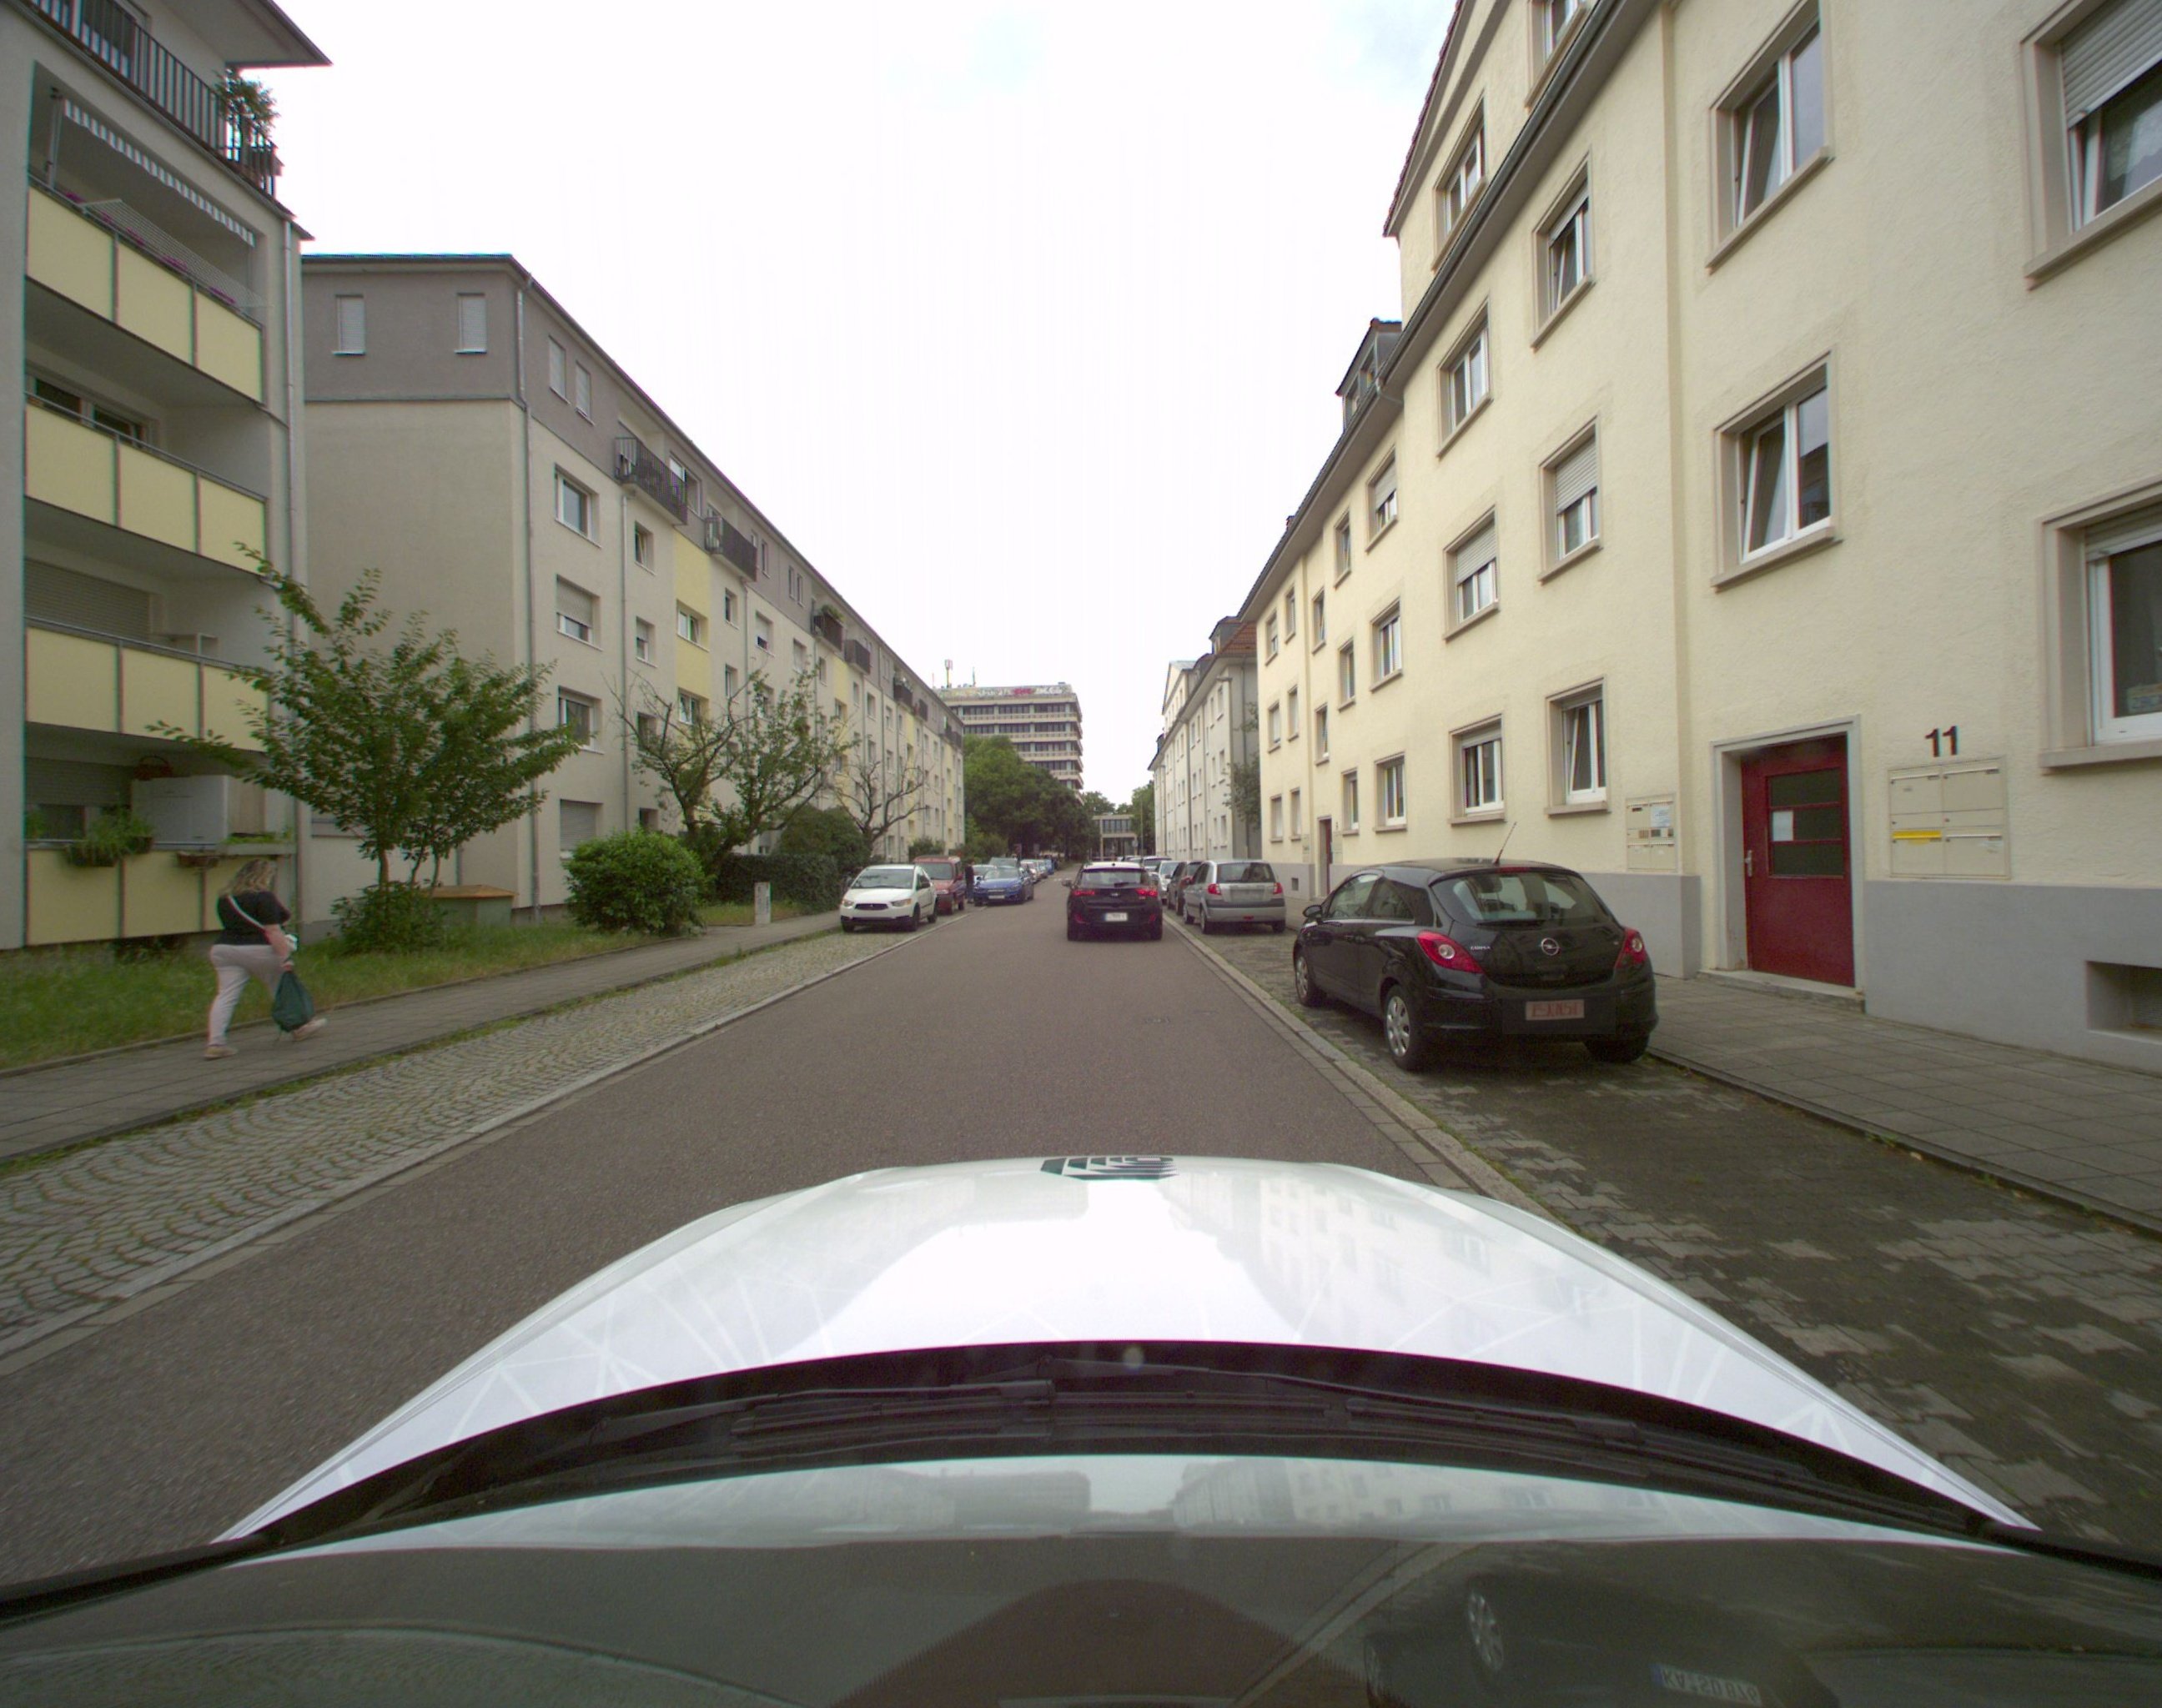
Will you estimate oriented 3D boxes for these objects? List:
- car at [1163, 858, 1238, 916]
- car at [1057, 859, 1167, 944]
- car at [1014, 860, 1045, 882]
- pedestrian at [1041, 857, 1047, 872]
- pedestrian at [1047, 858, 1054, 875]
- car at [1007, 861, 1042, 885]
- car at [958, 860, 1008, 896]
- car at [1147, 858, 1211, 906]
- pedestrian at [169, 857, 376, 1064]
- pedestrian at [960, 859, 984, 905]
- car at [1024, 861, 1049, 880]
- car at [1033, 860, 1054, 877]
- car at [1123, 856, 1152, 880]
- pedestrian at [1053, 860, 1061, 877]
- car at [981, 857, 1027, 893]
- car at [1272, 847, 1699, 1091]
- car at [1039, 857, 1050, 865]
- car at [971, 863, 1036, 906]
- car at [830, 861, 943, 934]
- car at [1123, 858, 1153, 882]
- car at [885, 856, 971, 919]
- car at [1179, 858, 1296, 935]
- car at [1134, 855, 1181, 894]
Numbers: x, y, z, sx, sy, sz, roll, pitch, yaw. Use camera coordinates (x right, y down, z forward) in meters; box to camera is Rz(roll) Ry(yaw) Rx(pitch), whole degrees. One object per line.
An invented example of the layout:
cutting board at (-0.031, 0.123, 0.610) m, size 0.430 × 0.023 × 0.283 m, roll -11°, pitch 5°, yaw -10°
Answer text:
car at (3.263, 0.854, 22.861) m, size 1.597 × 1.476 × 3.870 m, roll -1°, pitch 0°, yaw 1°
car at (0.616, 0.857, 16.525) m, size 1.896 × 1.433 × 4.234 m, roll -2°, pitch 0°, yaw 2°
car at (-3.757, 1.222, 60.320) m, size 1.888 × 1.599 × 4.521 m, roll 1°, pitch 0°, yaw 1°
pedestrian at (-4.203, 1.195, 91.901) m, size 0.598 × 1.713 × 0.649 m, roll -1°, pitch 0°, yaw 2°
pedestrian at (-3.431, 1.388, 91.919) m, size 0.602 × 1.831 × 0.676 m, roll -1°, pitch 0°, yaw 2°
car at (-3.714, 1.239, 54.196) m, size 1.888 × 1.452 × 4.521 m, roll 1°, pitch 0°, yaw 1°
car at (-4.416, 1.054, 37.136) m, size 1.738 × 1.465 × 3.786 m, roll -2°, pitch 0°, yaw 1°
car at (3.239, 0.887, 27.661) m, size 1.719 × 1.476 × 4.505 m, roll -1°, pitch 0°, yaw 1°
pedestrian at (-6.804, 0.843, 6.917) m, size 0.798 × 1.610 × 0.946 m, roll -1°, pitch -1°, yaw -4°
pedestrian at (-4.116, 1.048, 30.775) m, size 0.742 × 1.701 × 0.791 m, roll -2°, pitch -1°, yaw -17°
car at (-3.705, 1.380, 68.628) m, size 1.988 × 1.541 × 3.998 m, roll -1°, pitch 0°, yaw -1°
car at (-3.687, 1.425, 80.948) m, size 1.988 × 1.541 × 3.998 m, roll -1°, pitch 0°, yaw -1°
car at (3.986, 0.969, 57.953) m, size 1.813 × 1.603 × 4.092 m, roll -2°, pitch 0°, yaw 2°
pedestrian at (-2.703, 1.632, 91.725) m, size 0.711 × 1.831 × 0.798 m, roll -1°, pitch 0°, yaw 2°
car at (-3.988, 1.061, 42.680) m, size 1.888 × 1.740 × 4.475 m, roll 1°, pitch 0°, yaw 1°
car at (3.038, 0.733, 7.177) m, size 1.720 × 1.517 × 4.059 m, roll -1°, pitch 0°, yaw 0°
car at (-6.154, 1.140, 139.194) m, size 1.660 × 1.333 × 3.396 m, roll -1°, pitch 0°, yaw 1°
car at (-2.825, 1.099, 30.686) m, size 1.838 × 1.451 × 4.503 m, roll -1°, pitch 0°, yaw 2°
car at (-4.558, 0.957, 19.639) m, size 1.714 × 1.570 × 3.870 m, roll 0°, pitch 0°, yaw 1°
car at (3.663, 1.009, 53.055) m, size 1.813 × 1.503 × 4.092 m, roll -1°, pitch 0°, yaw 2°
car at (-4.667, 0.970, 25.477) m, size 1.951 × 1.770 × 4.359 m, roll -1°, pitch 0°, yaw -1°
car at (3.223, 0.818, 17.475) m, size 1.842 × 1.450 × 3.833 m, roll -1°, pitch 0°, yaw 1°
car at (3.374, 0.882, 36.651) m, size 1.813 × 1.642 × 4.092 m, roll -1°, pitch 0°, yaw 2°
